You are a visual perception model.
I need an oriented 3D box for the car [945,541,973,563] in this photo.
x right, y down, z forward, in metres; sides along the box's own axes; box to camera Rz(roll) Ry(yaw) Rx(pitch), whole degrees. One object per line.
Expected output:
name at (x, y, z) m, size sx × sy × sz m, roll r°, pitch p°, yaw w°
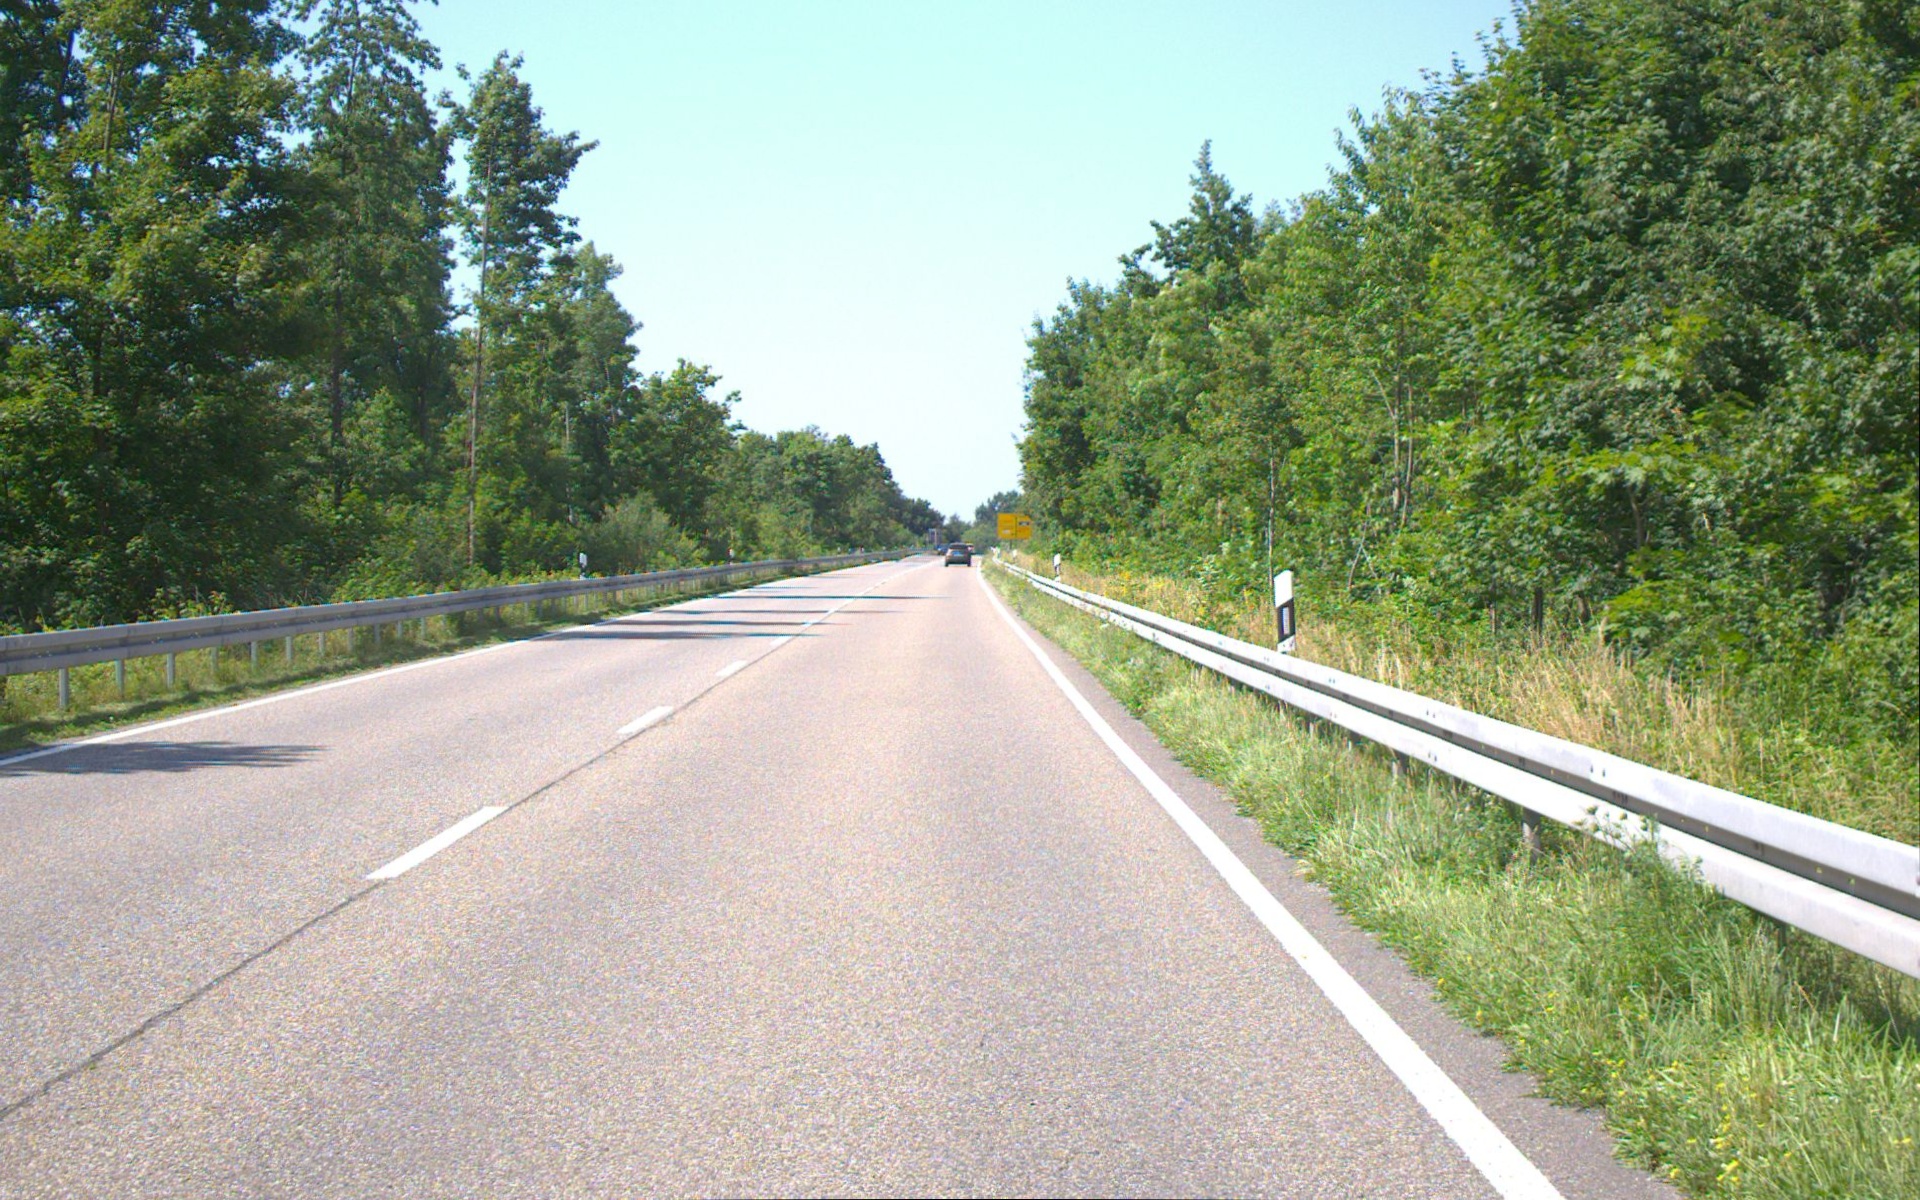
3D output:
car at (-0.060, -3.252, 231.905) m, size 1.741 × 1.465 × 3.692 m, roll 1°, pitch 1°, yaw 2°
